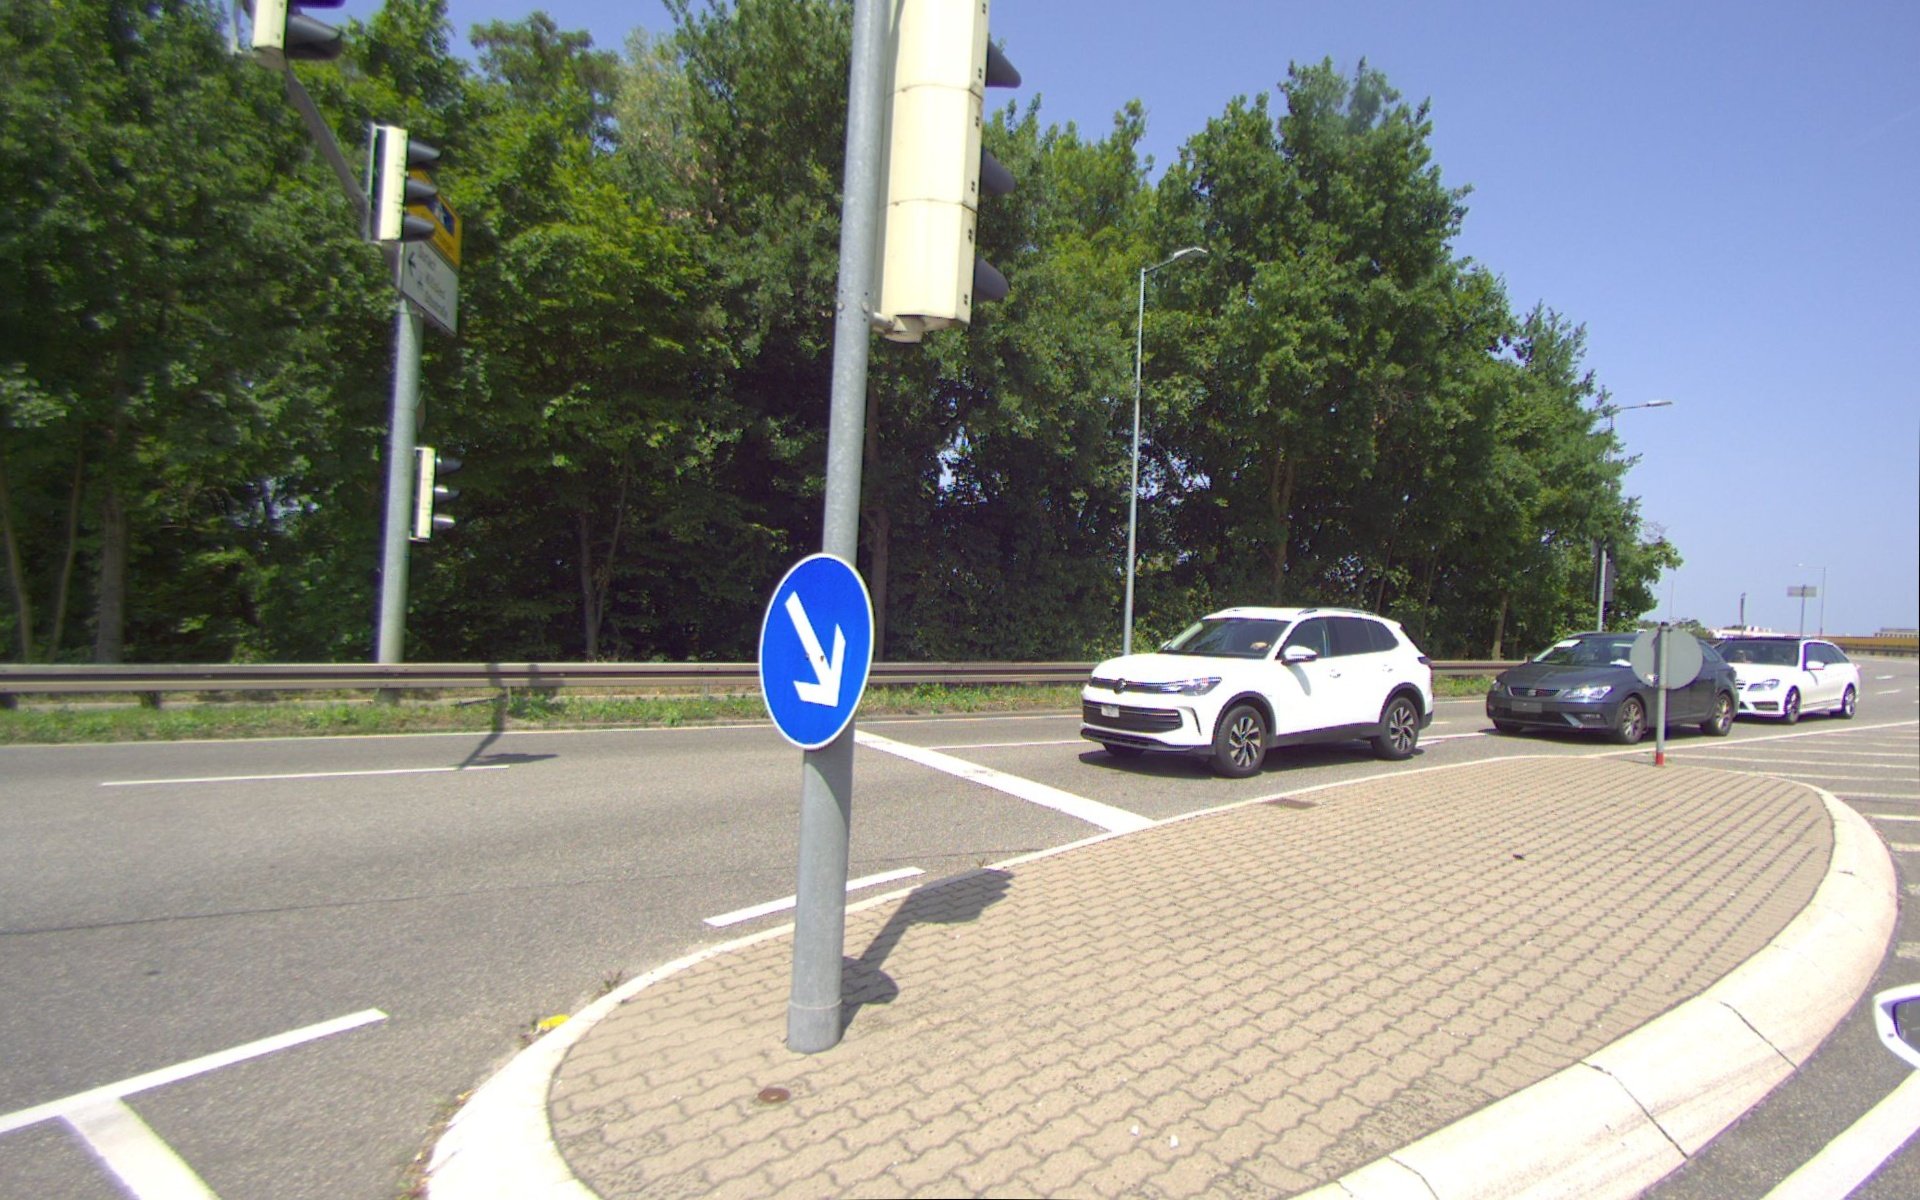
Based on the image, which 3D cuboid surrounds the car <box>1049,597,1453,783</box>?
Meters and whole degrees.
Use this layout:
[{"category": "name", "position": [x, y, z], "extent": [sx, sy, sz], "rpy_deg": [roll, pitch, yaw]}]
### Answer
[{"category": "car", "position": [3.306, 0.877, 11.019], "extent": [4.532, 1.660, 1.816], "rpy_deg": [2, -2, -34]}]

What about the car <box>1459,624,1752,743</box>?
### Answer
[{"category": "car", "position": [9.254, 1.101, 14.287], "extent": [4.497, 1.425, 1.817], "rpy_deg": [2, -1, -33]}]

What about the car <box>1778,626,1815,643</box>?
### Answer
[{"category": "car", "position": [78.979, 3.234, 94.886], "extent": [1.811, 1.528, 3.632], "rpy_deg": [2, 0, 25]}]

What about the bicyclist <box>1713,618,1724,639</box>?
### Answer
[{"category": "bicyclist", "position": [70.365, 2.627, 93.151], "extent": [0.614, 1.911, 0.712], "rpy_deg": [2, 0, 21]}]

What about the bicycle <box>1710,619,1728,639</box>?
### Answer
[{"category": "bicycle", "position": [70.387, 2.695, 93.182], "extent": [0.686, 1.825, 2.180], "rpy_deg": [2, 0, 21]}]

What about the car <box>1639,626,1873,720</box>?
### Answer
[{"category": "car", "position": [14.324, 1.243, 17.994], "extent": [4.835, 1.425, 1.817], "rpy_deg": [2, 0, -33]}]
